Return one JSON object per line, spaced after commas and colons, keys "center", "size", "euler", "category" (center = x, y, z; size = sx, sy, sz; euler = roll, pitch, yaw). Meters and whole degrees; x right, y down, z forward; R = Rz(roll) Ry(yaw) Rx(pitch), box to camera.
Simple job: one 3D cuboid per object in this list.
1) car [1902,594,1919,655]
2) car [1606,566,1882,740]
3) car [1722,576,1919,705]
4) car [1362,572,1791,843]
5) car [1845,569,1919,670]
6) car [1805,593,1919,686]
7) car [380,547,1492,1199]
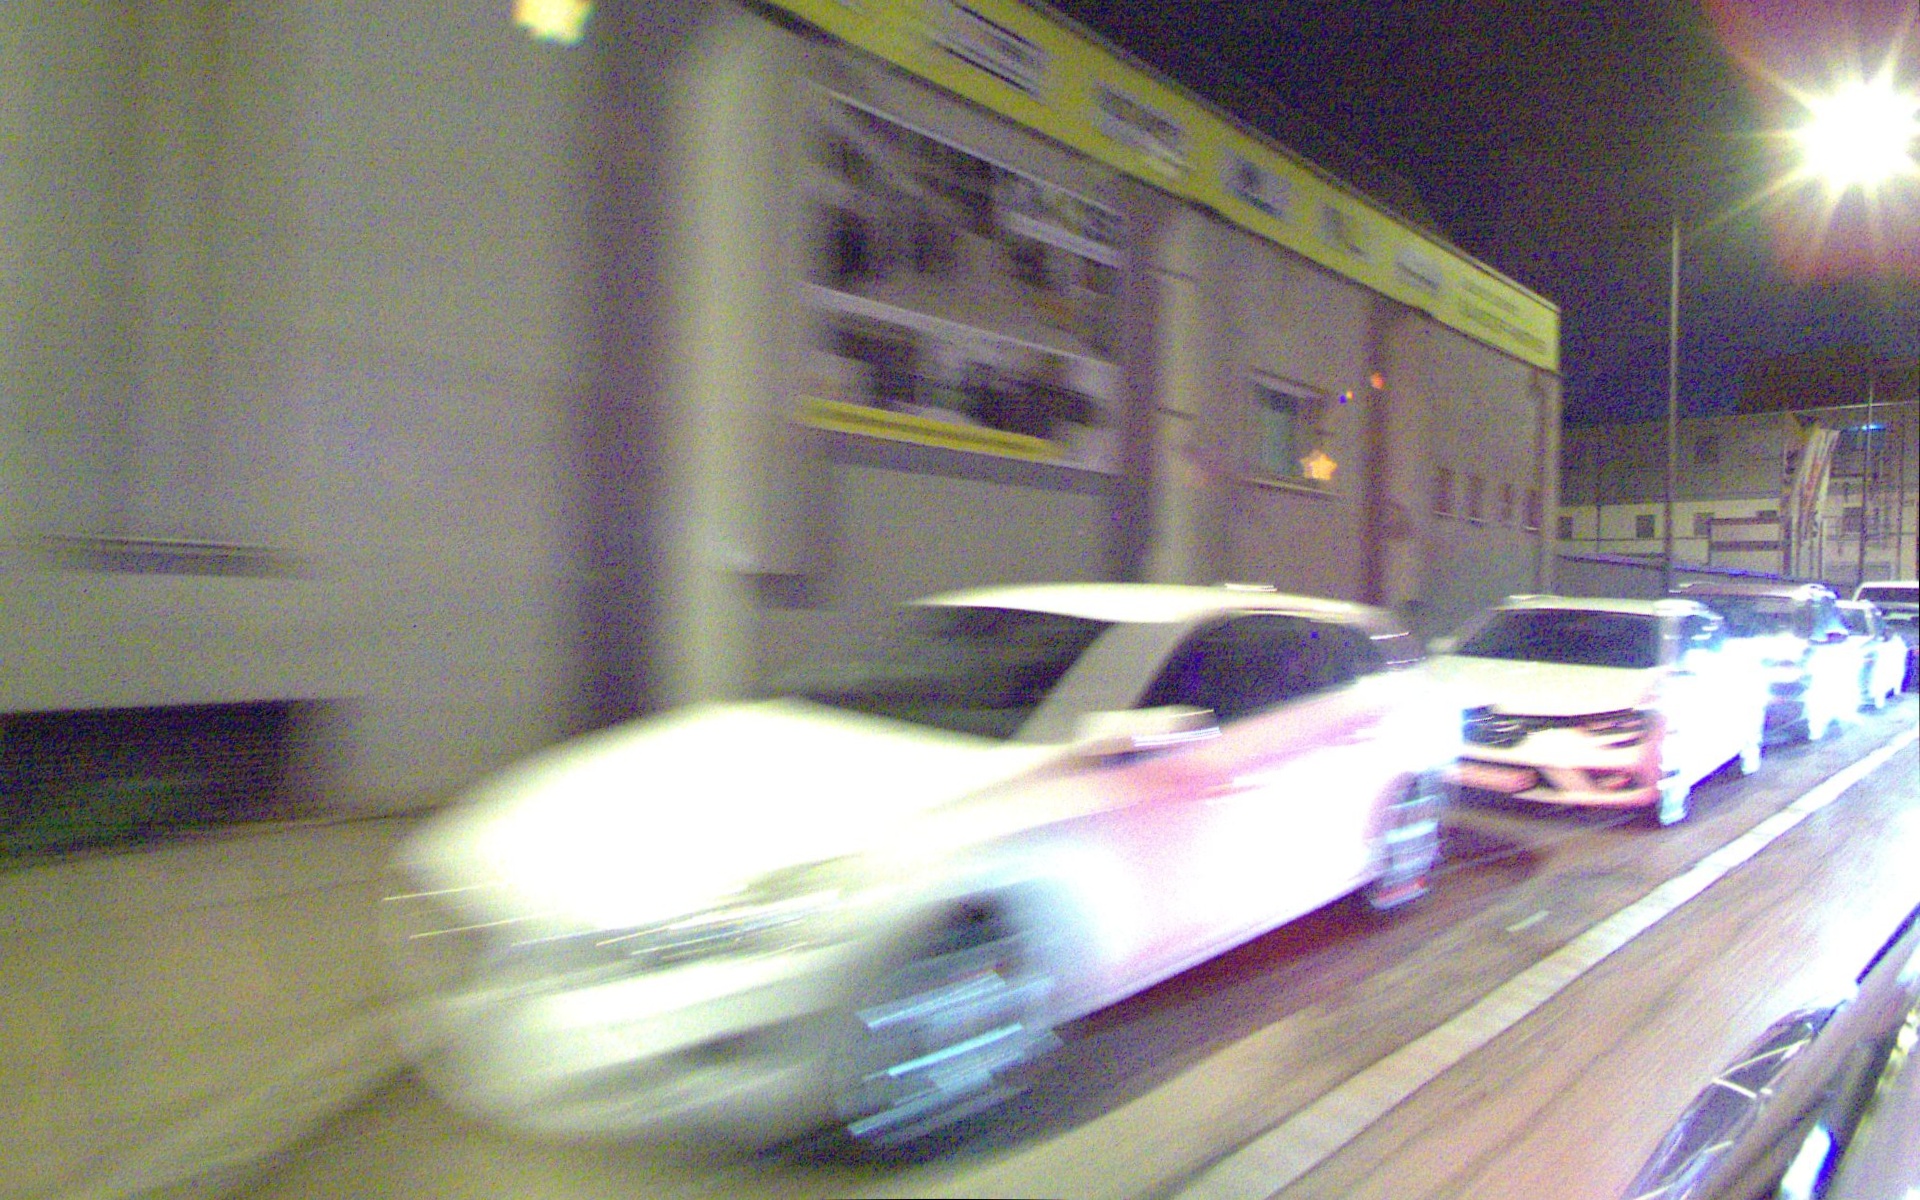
{"center": [25.169, 0.602, 25.542], "size": [3.823, 1.485, 1.598], "euler": [0, 1, -40], "category": "car"}
{"center": [9.318, 0.500, 11.888], "size": [4.382, 1.643, 1.826], "euler": [1, 2, -43], "category": "car"}
{"center": [13.064, 0.520, 15.239], "size": [4.552, 1.608, 1.825], "euler": [0, 2, -44], "category": "car"}
{"center": [5.070, 0.582, 8.020], "size": [4.470, 1.563, 1.777], "euler": [-1, 1, -43], "category": "car"}
{"center": [20.185, 0.396, 21.180], "size": [4.689, 1.898, 1.804], "euler": [1, 3, -41], "category": "car"}
{"center": [16.745, 0.652, 18.058], "size": [4.114, 1.445, 1.821], "euler": [0, 3, -40], "category": "car"}
{"center": [0.361, 0.614, 4.144], "size": [4.470, 1.507, 1.862], "euler": [-1, 1, -43], "category": "car"}
